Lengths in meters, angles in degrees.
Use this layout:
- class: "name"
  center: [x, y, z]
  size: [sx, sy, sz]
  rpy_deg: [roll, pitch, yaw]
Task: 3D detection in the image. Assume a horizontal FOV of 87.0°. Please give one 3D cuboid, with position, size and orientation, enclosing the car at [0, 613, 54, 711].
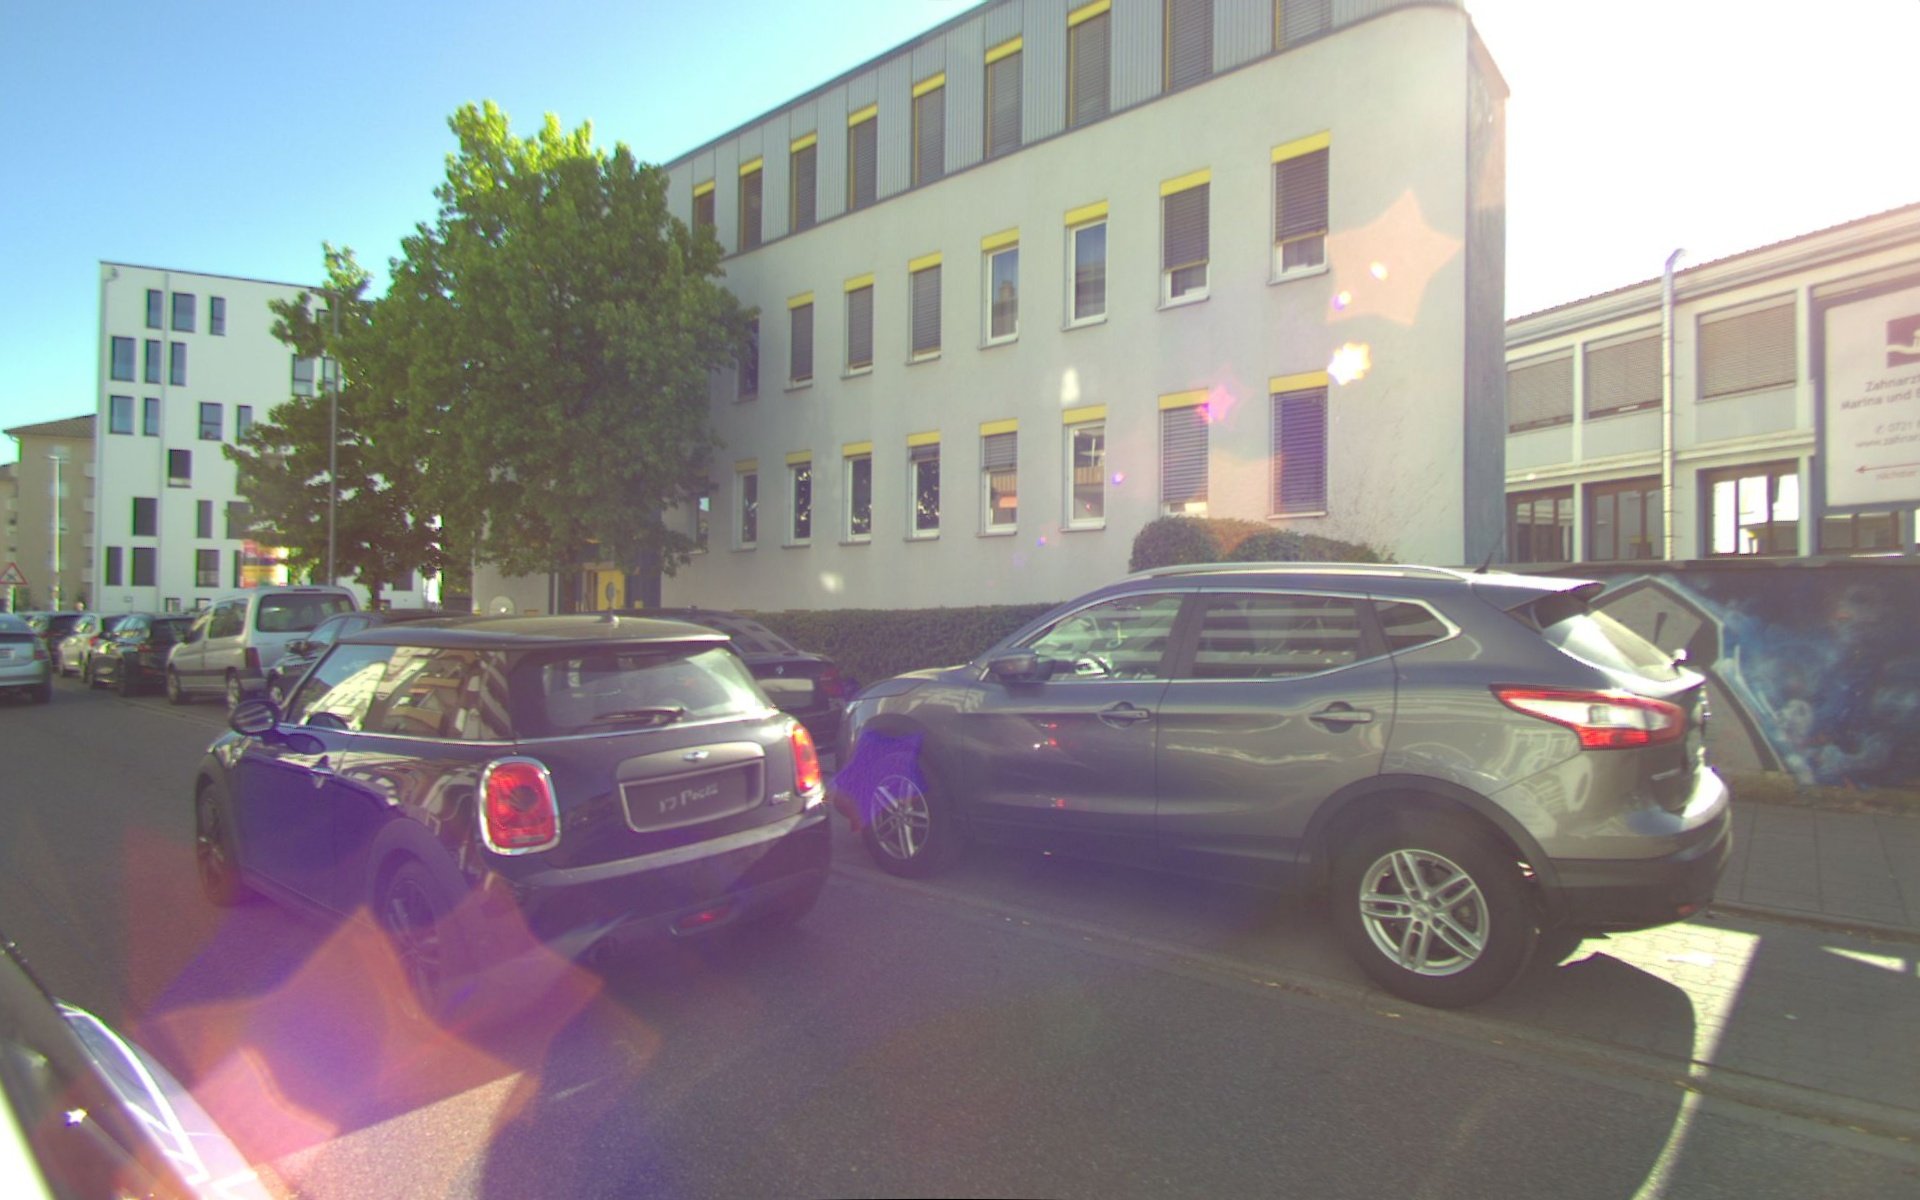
- class: "car"
  center: [-16.631, 1.008, 16.857]
  size: [4.103, 1.497, 1.709]
  rpy_deg: [-1, 1, 40]

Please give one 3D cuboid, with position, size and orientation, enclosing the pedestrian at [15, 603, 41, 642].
- class: "pedestrian"
  center: [-46.416, 1.131, 50.398]
  size: [0.778, 1.899, 0.849]
  rpy_deg: [2, 0, -35]

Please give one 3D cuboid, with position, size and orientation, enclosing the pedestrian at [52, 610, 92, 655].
- class: "pedestrian"
  center: [-34.911, 1.276, 39.795]
  size: [0.962, 1.727, 0.876]
  rpy_deg: [1, -2, -28]

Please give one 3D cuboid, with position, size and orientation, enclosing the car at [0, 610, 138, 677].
- class: "car"
  center: [-22.325, 1.029, 25.279]
  size: [4.375, 1.490, 1.890]
  rpy_deg: [0, -1, 39]

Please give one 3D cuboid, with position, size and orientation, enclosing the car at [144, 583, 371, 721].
- class: "car"
  center: [-10.893, 0.741, 15.590]
  size: [4.335, 1.853, 1.671]
  rpy_deg: [-1, -2, 38]

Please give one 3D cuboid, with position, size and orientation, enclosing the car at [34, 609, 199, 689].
- class: "car"
  center: [-18.538, 0.995, 22.176]
  size: [4.619, 1.541, 1.890]
  rpy_deg: [0, -1, 39]

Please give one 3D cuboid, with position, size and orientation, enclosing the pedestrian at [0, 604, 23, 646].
- class: "pedestrian"
  center: [-48.901, 1.289, 52.005]
  size: [0.951, 2.137, 0.771]
  rpy_deg: [-1, -1, 19]

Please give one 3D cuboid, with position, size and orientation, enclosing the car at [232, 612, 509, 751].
- class: "car"
  center: [-7.315, 0.875, 12.423]
  size: [3.994, 1.451, 1.583]
  rpy_deg: [-1, -1, 38]

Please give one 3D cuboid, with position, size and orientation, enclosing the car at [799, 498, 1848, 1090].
- class: "car"
  center: [1.299, 0.568, 4.859]
  size: [4.419, 1.598, 1.701]
  rpy_deg: [-1, -2, 42]

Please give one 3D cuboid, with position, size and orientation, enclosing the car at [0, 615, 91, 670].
- class: "car"
  center: [-25.983, 1.133, 28.319]
  size: [4.218, 1.421, 1.771]
  rpy_deg: [-1, -1, 39]

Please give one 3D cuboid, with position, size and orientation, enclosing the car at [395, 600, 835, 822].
- class: "car"
  center: [-3.207, 0.786, 8.881]
  size: [4.437, 1.476, 1.708]
  rpy_deg: [-1, -2, 42]

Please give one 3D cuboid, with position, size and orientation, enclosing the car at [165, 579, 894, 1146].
- class: "car"
  center: [-2.246, 0.733, 4.760]
  size: [3.730, 1.524, 1.721]
  rpy_deg: [3, 1, 42]

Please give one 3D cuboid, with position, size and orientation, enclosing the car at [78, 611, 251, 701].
- class: "car"
  center: [-14.705, 0.949, 18.611]
  size: [4.610, 1.450, 1.714]
  rpy_deg: [-1, -2, 42]
